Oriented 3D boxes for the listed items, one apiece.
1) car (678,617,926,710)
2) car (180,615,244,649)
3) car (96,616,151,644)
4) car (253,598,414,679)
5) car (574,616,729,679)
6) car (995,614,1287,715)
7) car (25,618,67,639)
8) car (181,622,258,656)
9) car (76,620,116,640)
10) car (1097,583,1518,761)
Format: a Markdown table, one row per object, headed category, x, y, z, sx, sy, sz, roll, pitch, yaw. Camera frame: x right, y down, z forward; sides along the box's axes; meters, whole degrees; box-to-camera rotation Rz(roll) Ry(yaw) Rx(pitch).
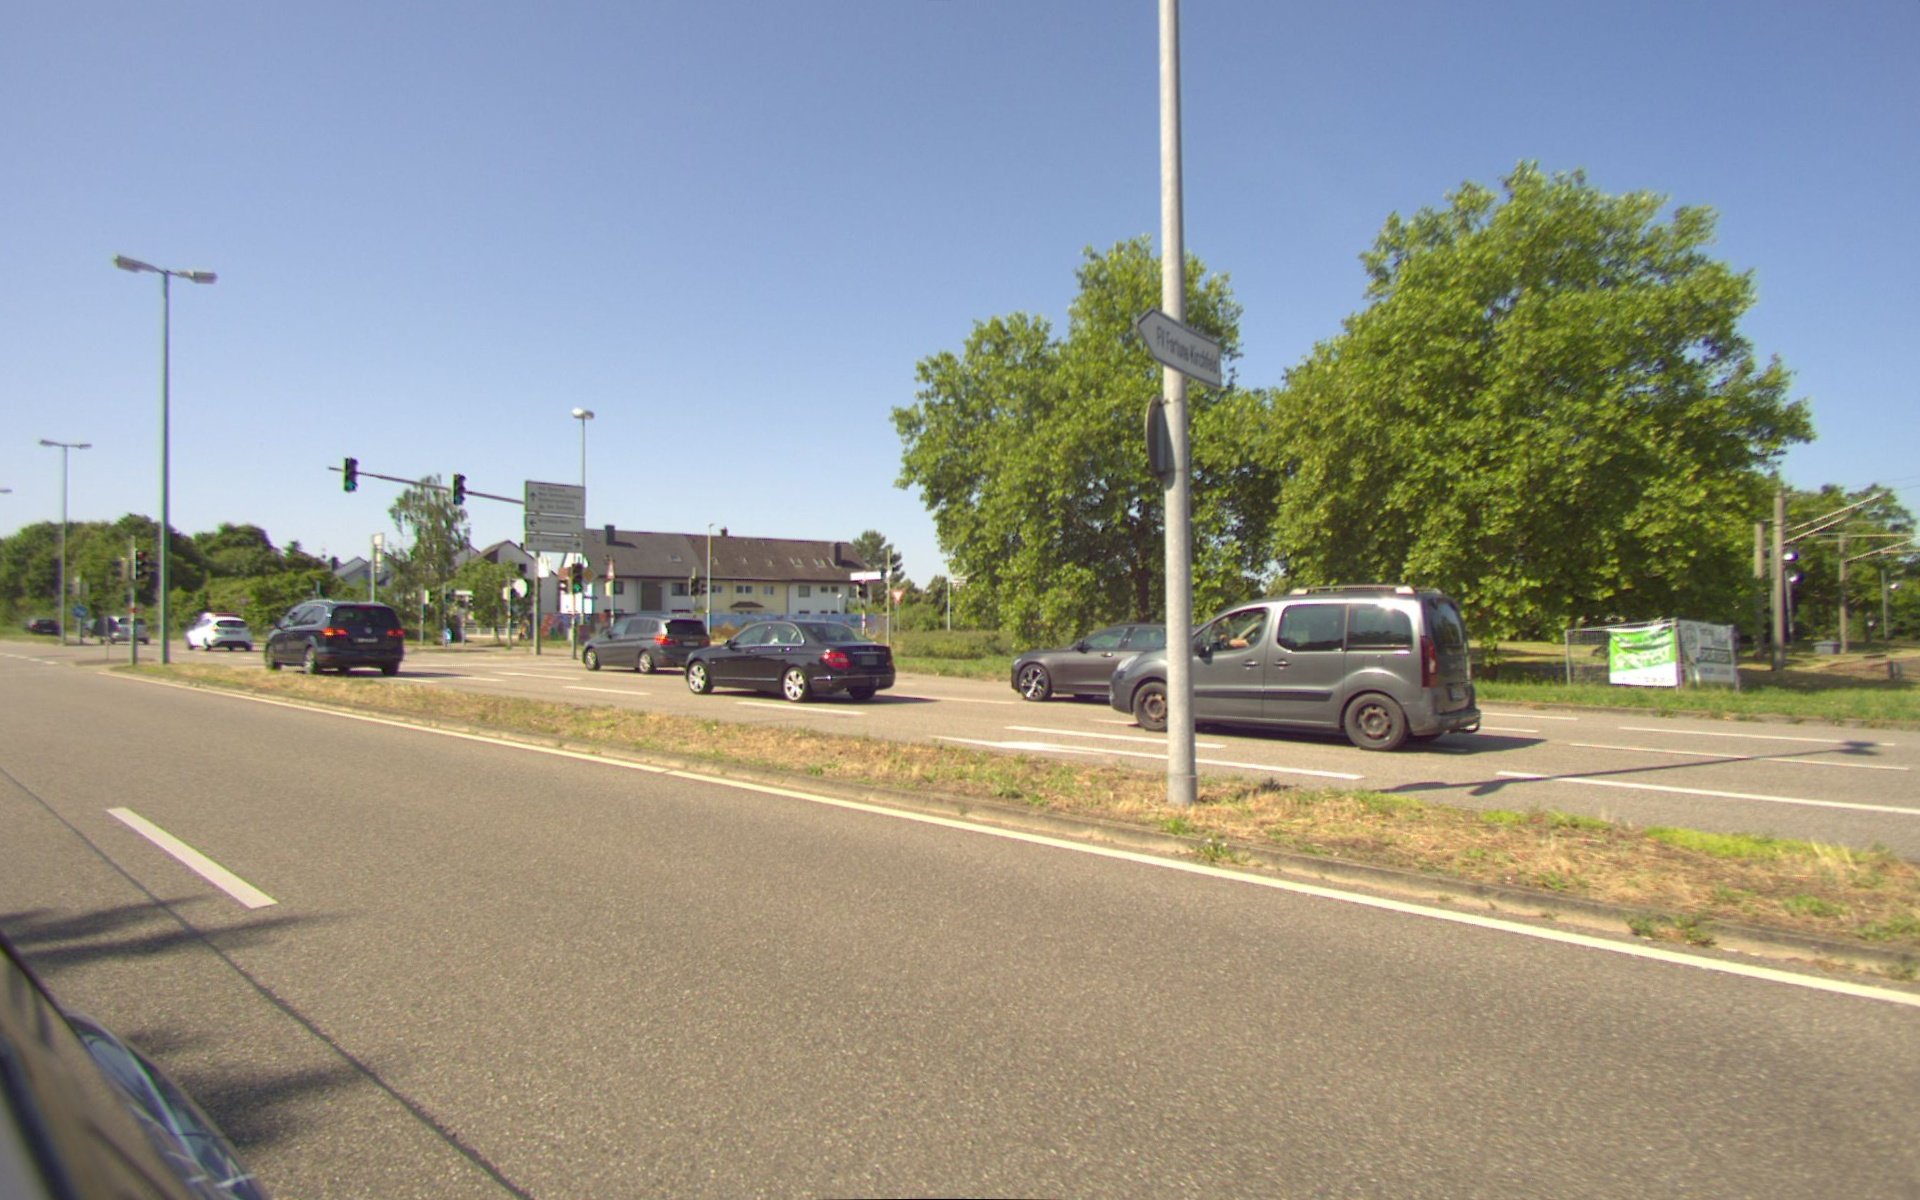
| category | x | y | z | sx | sy | sz | roll | pitch | yaw |
| --- | --- | --- | --- | --- | --- | --- | --- | --- | --- |
| car | -2.920 | 1.072 | 18.228 | 4.446 | 1.468 | 1.961 | -1 | -3 | 40 |
| car | -41.475 | 1.776 | 56.075 | 4.222 | 1.783 | 1.688 | -1 | -3 | 37 |
| car | -44.580 | 1.592 | 53.933 | 3.868 | 1.468 | 1.602 | -1 | -2 | 40 |
| car | -15.011 | 0.914 | 24.158 | 4.505 | 1.764 | 1.960 | -1 | -3 | 41 |
| car | -8.759 | 1.310 | 28.539 | 4.486 | 1.635 | 2.050 | -1 | -3 | 40 |
| car | 3.086 | 1.075 | 17.845 | 4.681 | 1.540 | 2.050 | -1 | -4 | 40 |
| car | -66.009 | 2.041 | 73.069 | 4.333 | 1.468 | 1.959 | -1 | -2 | 44 |
| car | -32.037 | 1.658 | 43.739 | 3.840 | 1.397 | 1.810 | -1 | -2 | 40 |
| car | -66.429 | 2.285 | 77.816 | 4.229 | 1.468 | 1.864 | -1 | -2 | 43 |
| car | 4.102 | 0.772 | 12.425 | 4.488 | 1.793 | 1.960 | -1 | -2 | 42 |
